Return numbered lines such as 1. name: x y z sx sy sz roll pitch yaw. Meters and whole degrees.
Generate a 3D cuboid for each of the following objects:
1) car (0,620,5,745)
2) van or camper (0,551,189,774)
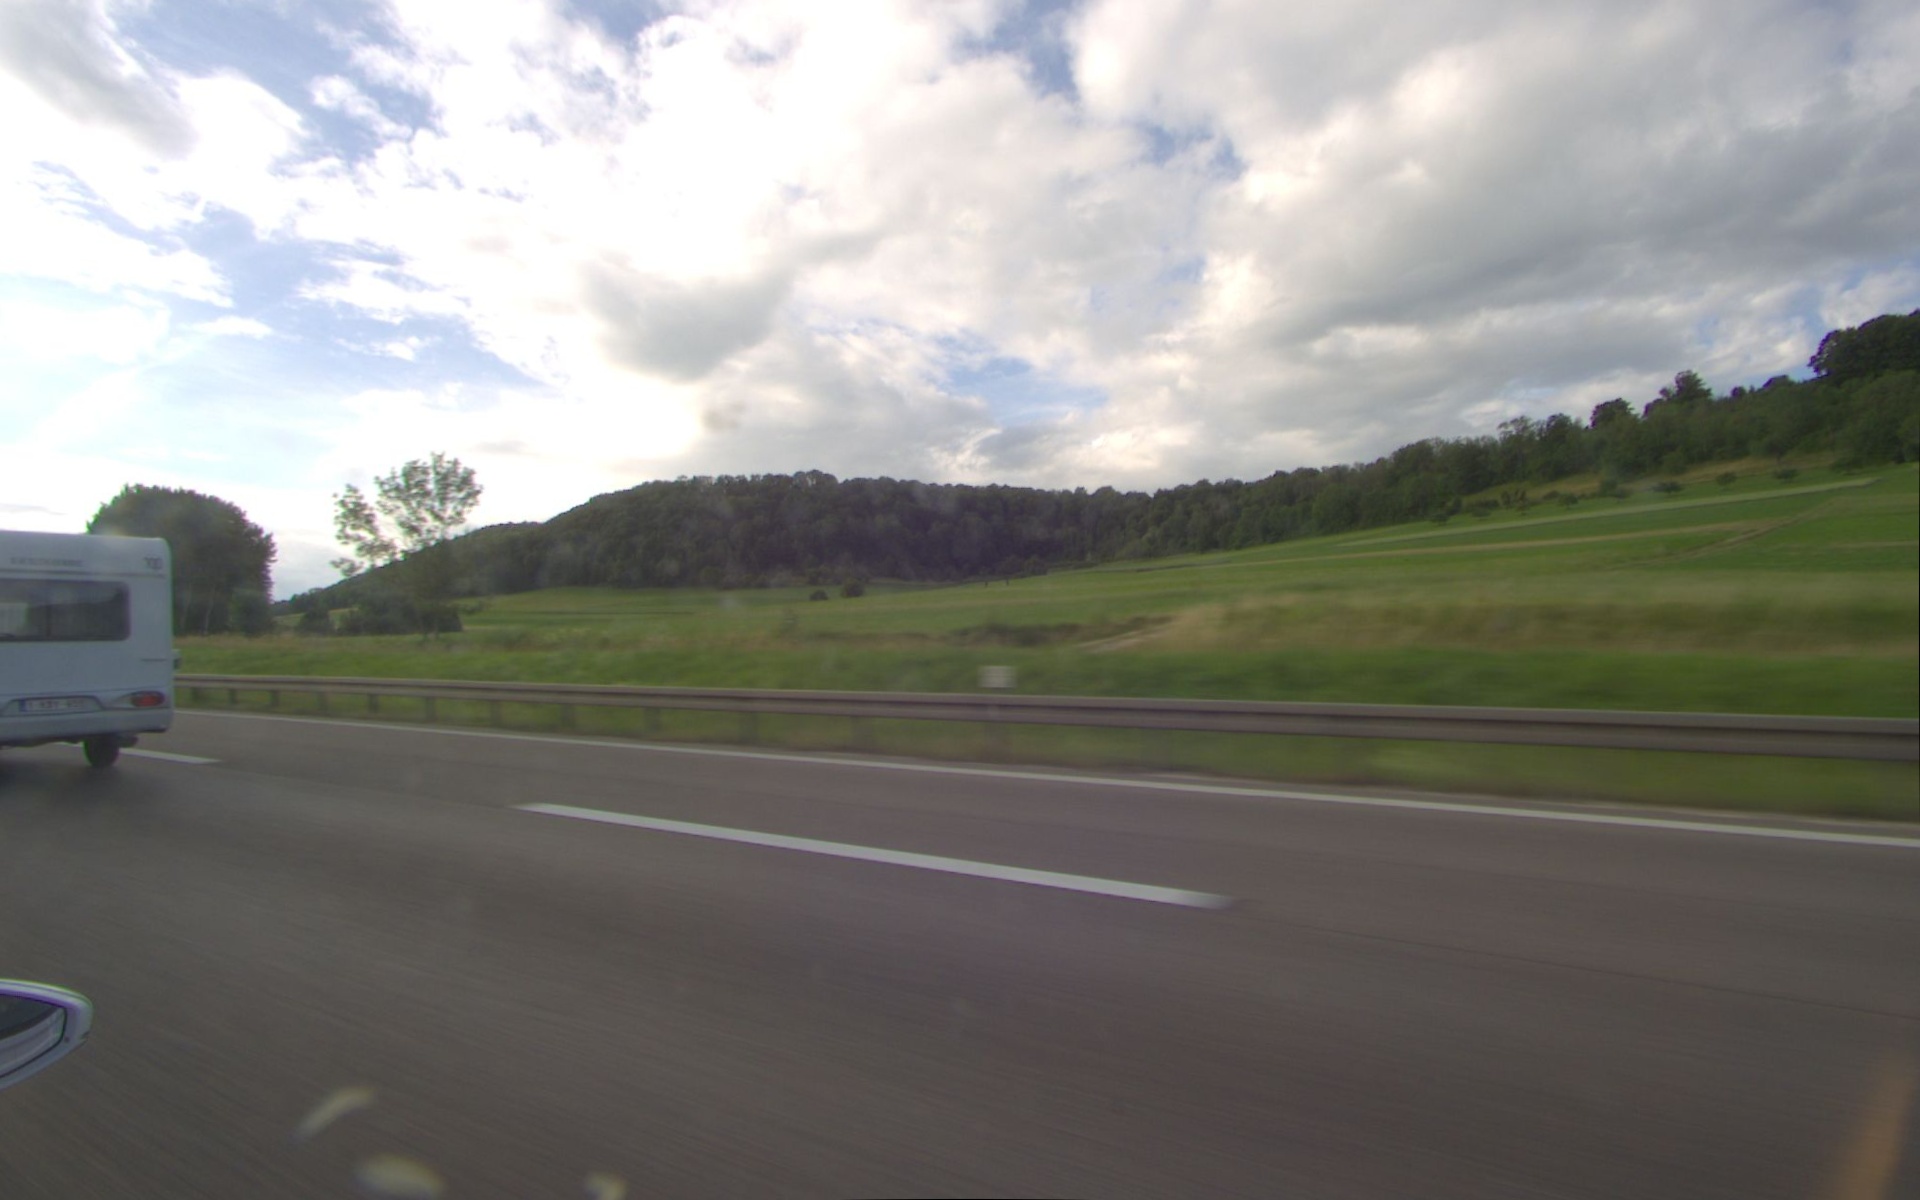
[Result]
1. car: -15.126 1.112 13.820 4.417 1.674 1.783 -1 -1 32
2. van or camper: -11.739 0.732 11.906 5.257 2.267 2.543 -2 -3 34
